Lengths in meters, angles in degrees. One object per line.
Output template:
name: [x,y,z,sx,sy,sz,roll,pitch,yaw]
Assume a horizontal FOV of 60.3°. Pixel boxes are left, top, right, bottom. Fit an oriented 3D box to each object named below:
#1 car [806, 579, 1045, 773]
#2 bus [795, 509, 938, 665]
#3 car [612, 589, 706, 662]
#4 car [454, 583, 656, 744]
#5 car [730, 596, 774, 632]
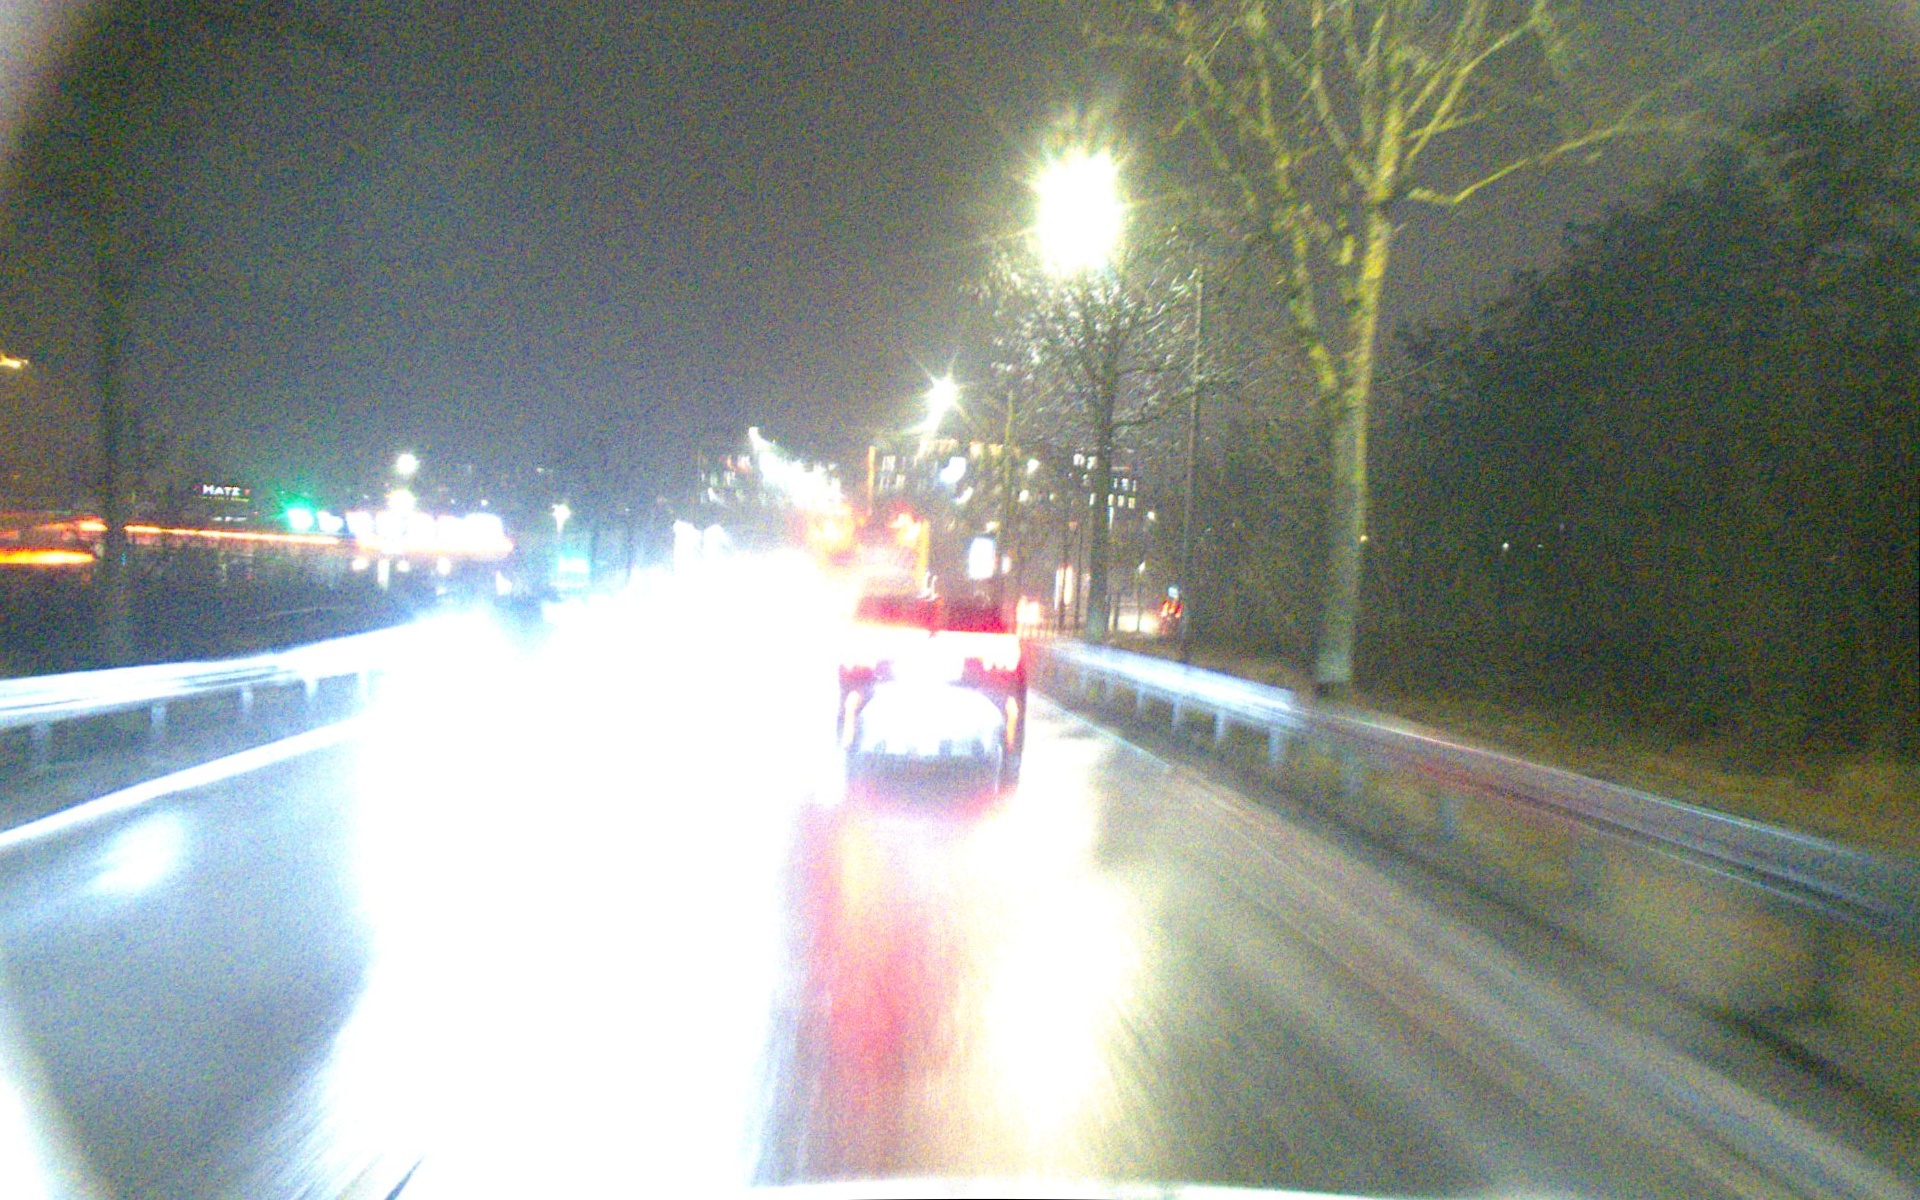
car: [-0.263,0.610,15.776,1.952,1.551,4.001,2,1,1]
bus: [-2.293,-0.305,39.384,2.983,3.268,9.043,0,0,-4]
car: [-6.529,0.509,36.207,1.726,1.456,4.321,2,0,-7]
car: [-4.190,0.594,17.638,1.587,1.504,4.040,1,0,-7]
car: [-9.049,0.590,71.956,1.789,1.427,4.030,3,1,-7]
